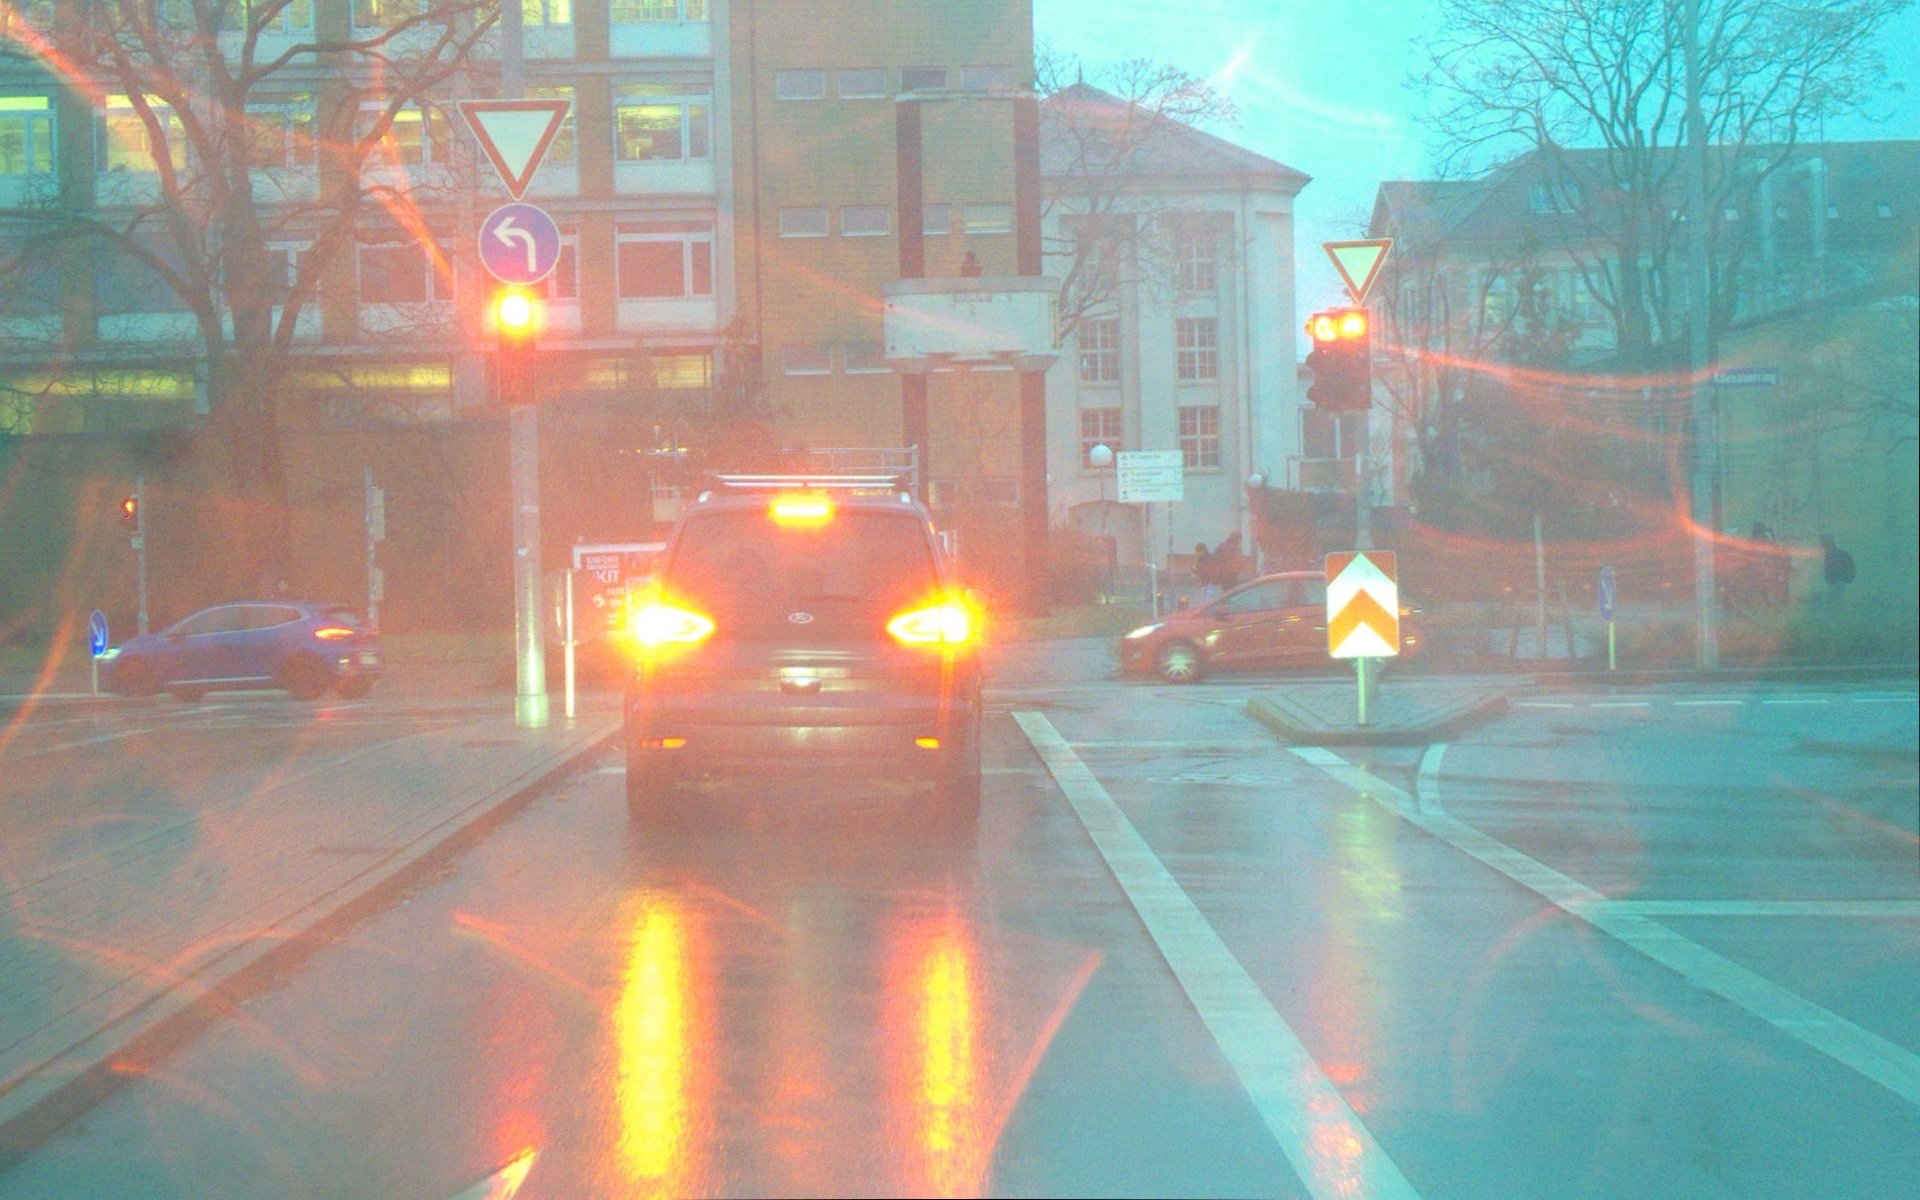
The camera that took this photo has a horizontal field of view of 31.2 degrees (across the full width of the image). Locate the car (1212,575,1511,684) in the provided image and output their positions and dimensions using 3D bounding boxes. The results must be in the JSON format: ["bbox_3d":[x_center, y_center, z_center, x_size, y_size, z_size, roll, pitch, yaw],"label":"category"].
[{"bbox_3d":[5.309,0.389,45.347,3.791,1.393,1.564,0,-1,12],"label":"car"}]

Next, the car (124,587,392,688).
[{"bbox_3d":[-9.917,0.519,48.599,3.413,1.393,1.468,0,0,15],"label":"car"}]

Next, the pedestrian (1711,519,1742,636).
[{"bbox_3d":[12.096,-0.354,54.259,0.438,1.832,0.459,0,-1,17],"label":"pedestrian"}]

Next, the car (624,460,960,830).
[{"bbox_3d":[-0.862,0.178,18.950,1.647,1.812,4.000,0,1,-1],"label":"car"}]

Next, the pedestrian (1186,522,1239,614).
[{"bbox_3d":[4.592,-0.581,62.546,0.684,1.655,0.677,1,-1,-36],"label":"pedestrian"}]

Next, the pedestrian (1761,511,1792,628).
[{"bbox_3d":[12.870,-0.479,54.179,0.438,1.832,0.459,0,-1,18],"label":"pedestrian"}]

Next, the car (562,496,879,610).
[{"bbox_3d":[-4.369,-0.853,63.138,5.548,2.017,1.999,0,-1,5],"label":"car"}]

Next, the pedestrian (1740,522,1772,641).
[{"bbox_3d":[12.319,-0.282,53.213,0.458,1.832,0.438,0,-1,17],"label":"pedestrian"}]
